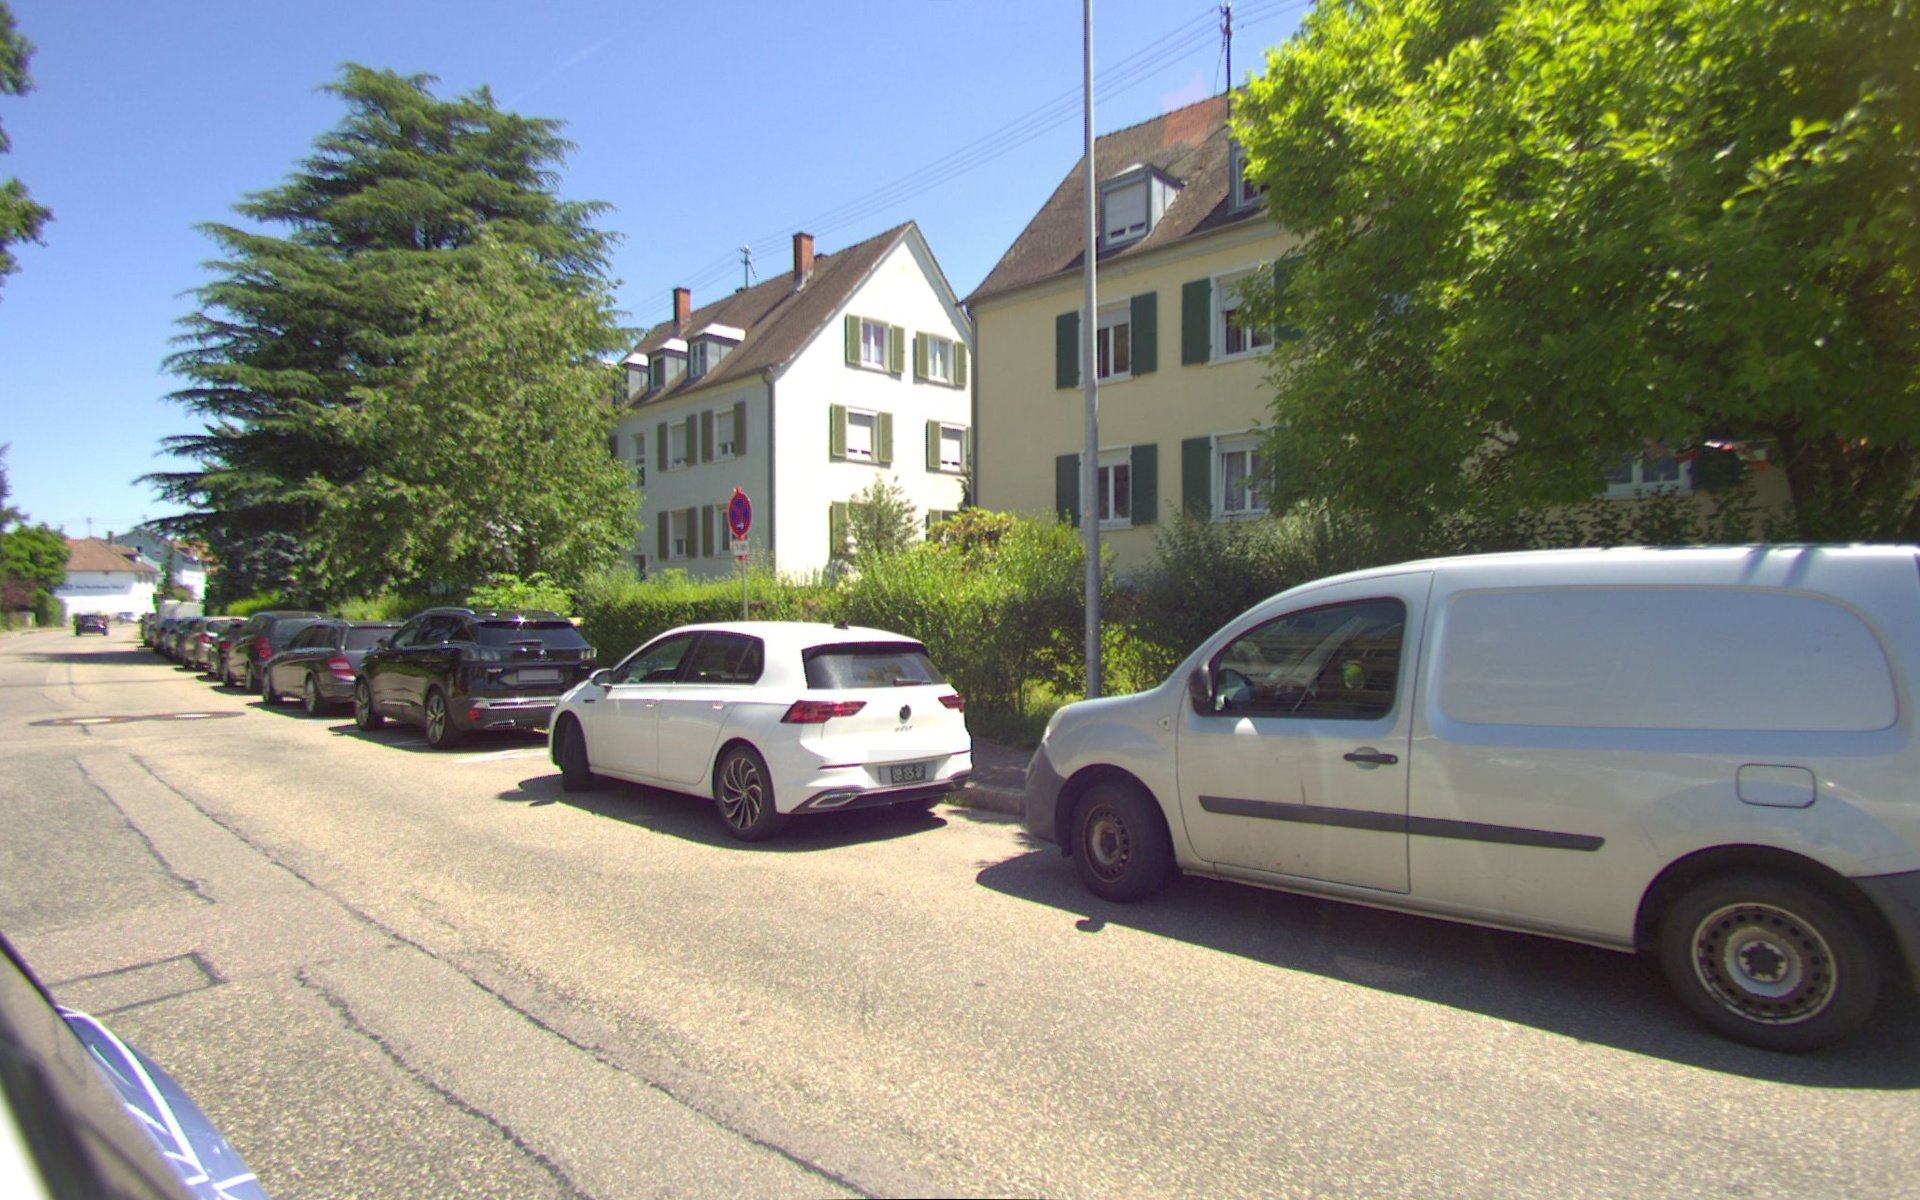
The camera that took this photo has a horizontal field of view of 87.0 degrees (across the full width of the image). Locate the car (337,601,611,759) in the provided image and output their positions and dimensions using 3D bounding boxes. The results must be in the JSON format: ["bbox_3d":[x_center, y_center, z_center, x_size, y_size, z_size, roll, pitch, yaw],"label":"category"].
[{"bbox_3d":[-6.218,0.884,12.699,4.331,1.649,1.662,-1,-2,44],"label":"car"}]

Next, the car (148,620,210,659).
[{"bbox_3d":[-31.448,1.558,40.711,1.774,1.453,4.484,2,-2,-40],"label":"car"}]

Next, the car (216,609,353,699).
[{"bbox_3d":[-13.816,1.044,20.622,1.661,1.652,3.793,2,-2,-44],"label":"car"}]

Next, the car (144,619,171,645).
[{"bbox_3d":[-50.198,1.965,63.303,1.288,1.589,2.325,1,-2,-39],"label":"car"}]

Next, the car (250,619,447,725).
[{"bbox_3d":[-10.044,1.073,16.484,4.331,1.487,1.662,-1,-2,44],"label":"car"}]

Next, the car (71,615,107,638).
[{"bbox_3d":[-62.605,1.884,72.734,1.876,1.587,4.146,1,-1,-42],"label":"car"}]

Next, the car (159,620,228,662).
[{"bbox_3d":[-28.036,1.457,36.979,1.774,1.453,3.902,2,-2,-40],"label":"car"}]

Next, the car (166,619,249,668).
[{"bbox_3d":[-23.962,1.345,32.152,1.774,1.453,4.278,2,-2,-41],"label":"car"}]

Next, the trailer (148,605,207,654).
[{"bbox_3d":[-35.057,1.316,45.292,1.792,2.049,4.006,3,-3,-41],"label":"trailer"}]

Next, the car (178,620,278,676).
[{"bbox_3d":[-20.348,1.294,28.082,1.775,1.453,3.788,2,-2,-43],"label":"car"}]

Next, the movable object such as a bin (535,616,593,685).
[{"bbox_3d":[-7.925,0.992,20.241,0.964,1.342,0.744,-1,-2,44],"label":"movable object such as a bin"}]

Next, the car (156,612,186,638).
[{"bbox_3d":[-67.244,2.157,86.233,1.864,2.131,4.007,3,-3,-38],"label":"car"}]

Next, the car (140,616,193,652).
[{"bbox_3d":[-37.998,1.604,48.428,1.746,1.631,4.555,3,-3,-41],"label":"car"}]

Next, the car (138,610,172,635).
[{"bbox_3d":[-59.618,1.691,74.953,1.864,1.772,3.619,3,-3,-38],"label":"car"}]

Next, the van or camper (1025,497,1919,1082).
[{"bbox_3d":[2.388,0.626,4.823,3.984,1.818,1.663,-1,-2,42],"label":"van or camper"}]

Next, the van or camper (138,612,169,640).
[{"bbox_3d":[-53.502,1.710,67.145,1.559,1.784,3.895,1,-2,-39],"label":"van or camper"}]

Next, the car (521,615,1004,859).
[{"bbox_3d":[-1.787,0.866,8.118,4.248,1.452,1.662,-1,-2,44],"label":"car"}]

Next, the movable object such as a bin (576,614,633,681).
[{"bbox_3d":[-7.336,0.959,20.873,0.964,1.342,0.744,-1,-2,44],"label":"movable object such as a bin"}]

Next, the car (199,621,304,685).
[{"bbox_3d":[-17.180,1.233,24.471,1.660,1.412,3.795,2,-2,-41],"label":"car"}]
